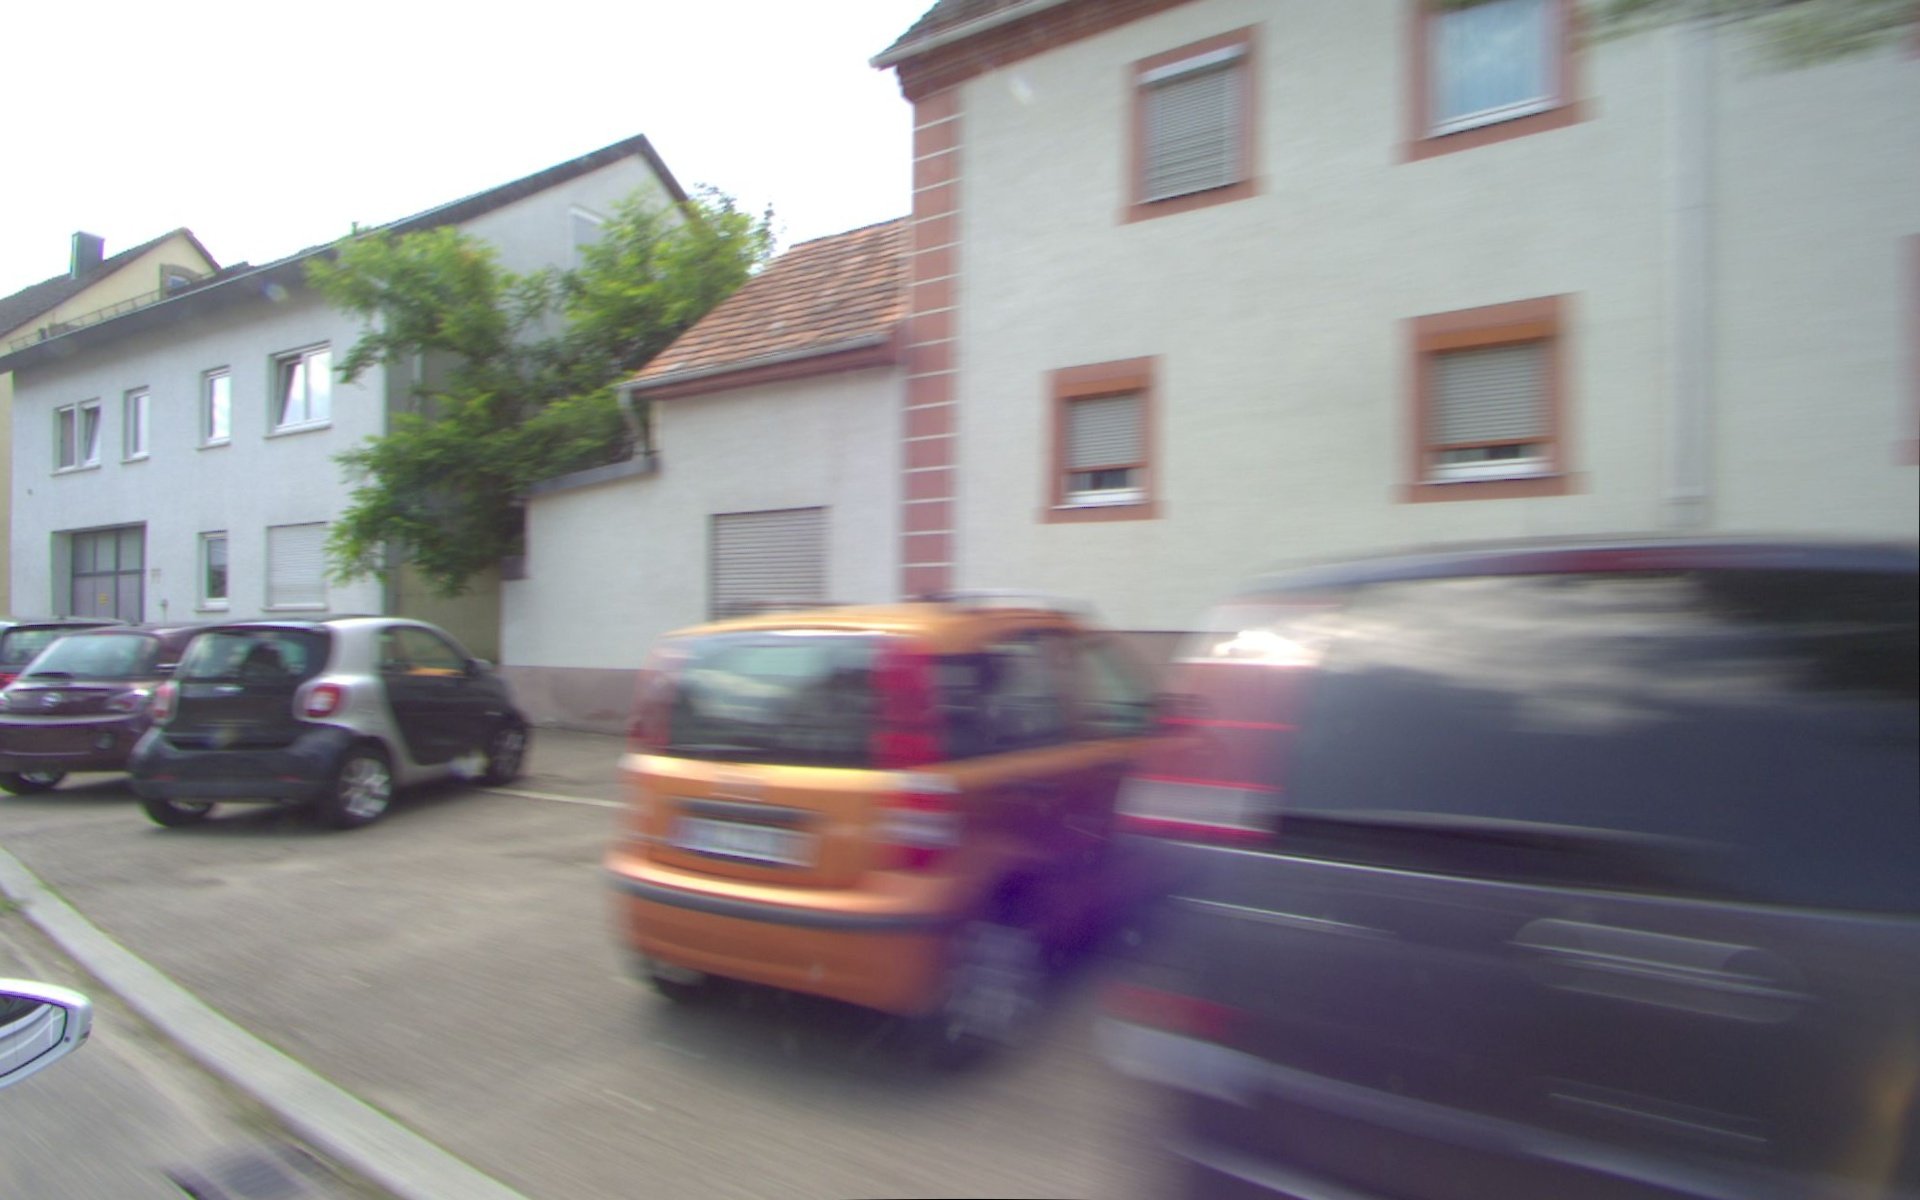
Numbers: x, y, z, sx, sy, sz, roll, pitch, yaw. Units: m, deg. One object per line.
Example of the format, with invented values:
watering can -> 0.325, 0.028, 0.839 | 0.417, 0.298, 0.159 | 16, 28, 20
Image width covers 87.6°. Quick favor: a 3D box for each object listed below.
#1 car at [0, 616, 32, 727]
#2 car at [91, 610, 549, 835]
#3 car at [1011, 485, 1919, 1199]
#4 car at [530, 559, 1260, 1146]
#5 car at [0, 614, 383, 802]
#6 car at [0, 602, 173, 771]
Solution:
car -> -15.491, 0.992, 14.284 | 4.303, 1.537, 1.993 | 0, -1, 28
car -> -5.042, 0.863, 8.333 | 1.842, 1.524, 2.788 | 0, -1, 8
car -> 1.782, 0.661, 2.969 | 1.822, 1.598, 3.845 | 0, 0, 28
car -> 0.046, 0.742, 4.625 | 1.702, 1.597, 3.370 | 0, -2, 33
car -> -7.544, 0.911, 9.825 | 1.791, 1.524, 3.237 | 0, -1, 3
car -> -10.840, 0.862, 11.301 | 4.208, 1.645, 1.660 | 0, -1, 30
